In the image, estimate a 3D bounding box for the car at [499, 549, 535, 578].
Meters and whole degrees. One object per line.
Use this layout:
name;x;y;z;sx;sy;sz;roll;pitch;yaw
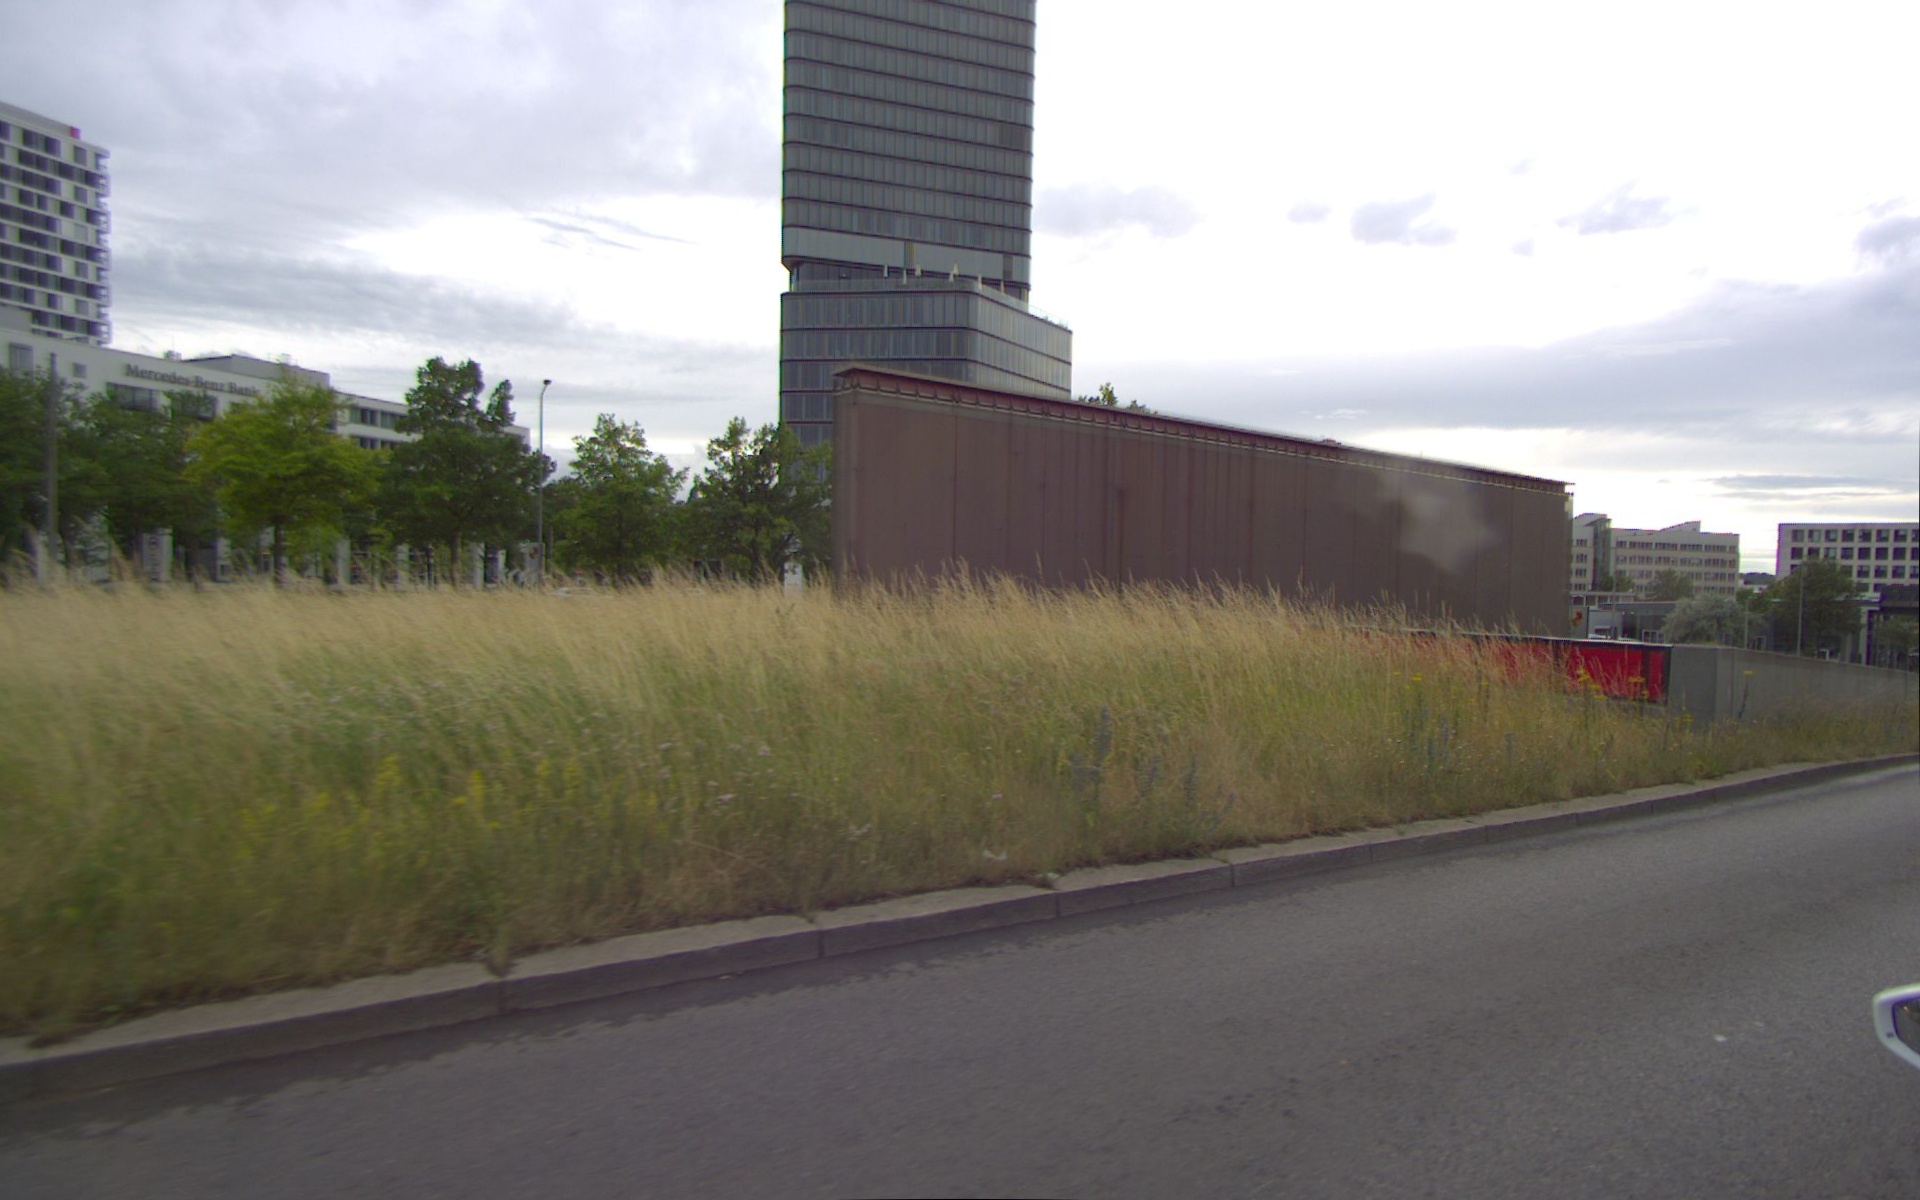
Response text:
car;-42.730;-3.500;96.904;1.864;1.693;3.722;-7;-12;-2

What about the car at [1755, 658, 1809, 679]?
car;87.562;7.272;107.011;1.896;1.707;3.976;1;4;-23

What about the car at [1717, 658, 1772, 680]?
car;81.124;7.108;103.939;1.896;1.707;3.976;1;4;-23

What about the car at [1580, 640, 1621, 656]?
car;75.160;5.637;117.866;3.938;1.707;1.914;1;4;-19

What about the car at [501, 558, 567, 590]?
car;-29.884;-1.821;70.471;3.961;2.041;1.979;0;4;-36

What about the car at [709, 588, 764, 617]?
car;-17.295;0.176;77.831;3.925;2.041;1.998;2;4;-6

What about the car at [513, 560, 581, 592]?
car;-28.059;-1.613;68.237;3.961;2.041;1.979;0;4;-36

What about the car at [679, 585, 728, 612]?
car;-22.122;-0.145;86.809;3.929;2.041;1.995;2;4;-11

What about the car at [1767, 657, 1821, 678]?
car;89.570;7.254;107.875;1.896;1.707;3.976;1;4;-23

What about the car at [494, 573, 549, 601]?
car;-33.192;-0.980;76.088;1.959;1.874;4.001;3;4;9

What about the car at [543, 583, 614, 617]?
car;-25.074;-0.033;66.015;3.962;2.041;1.979;0;4;-37

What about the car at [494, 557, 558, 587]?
car;-31.362;-2.010;72.627;3.961;2.041;1.979;0;4;-36
